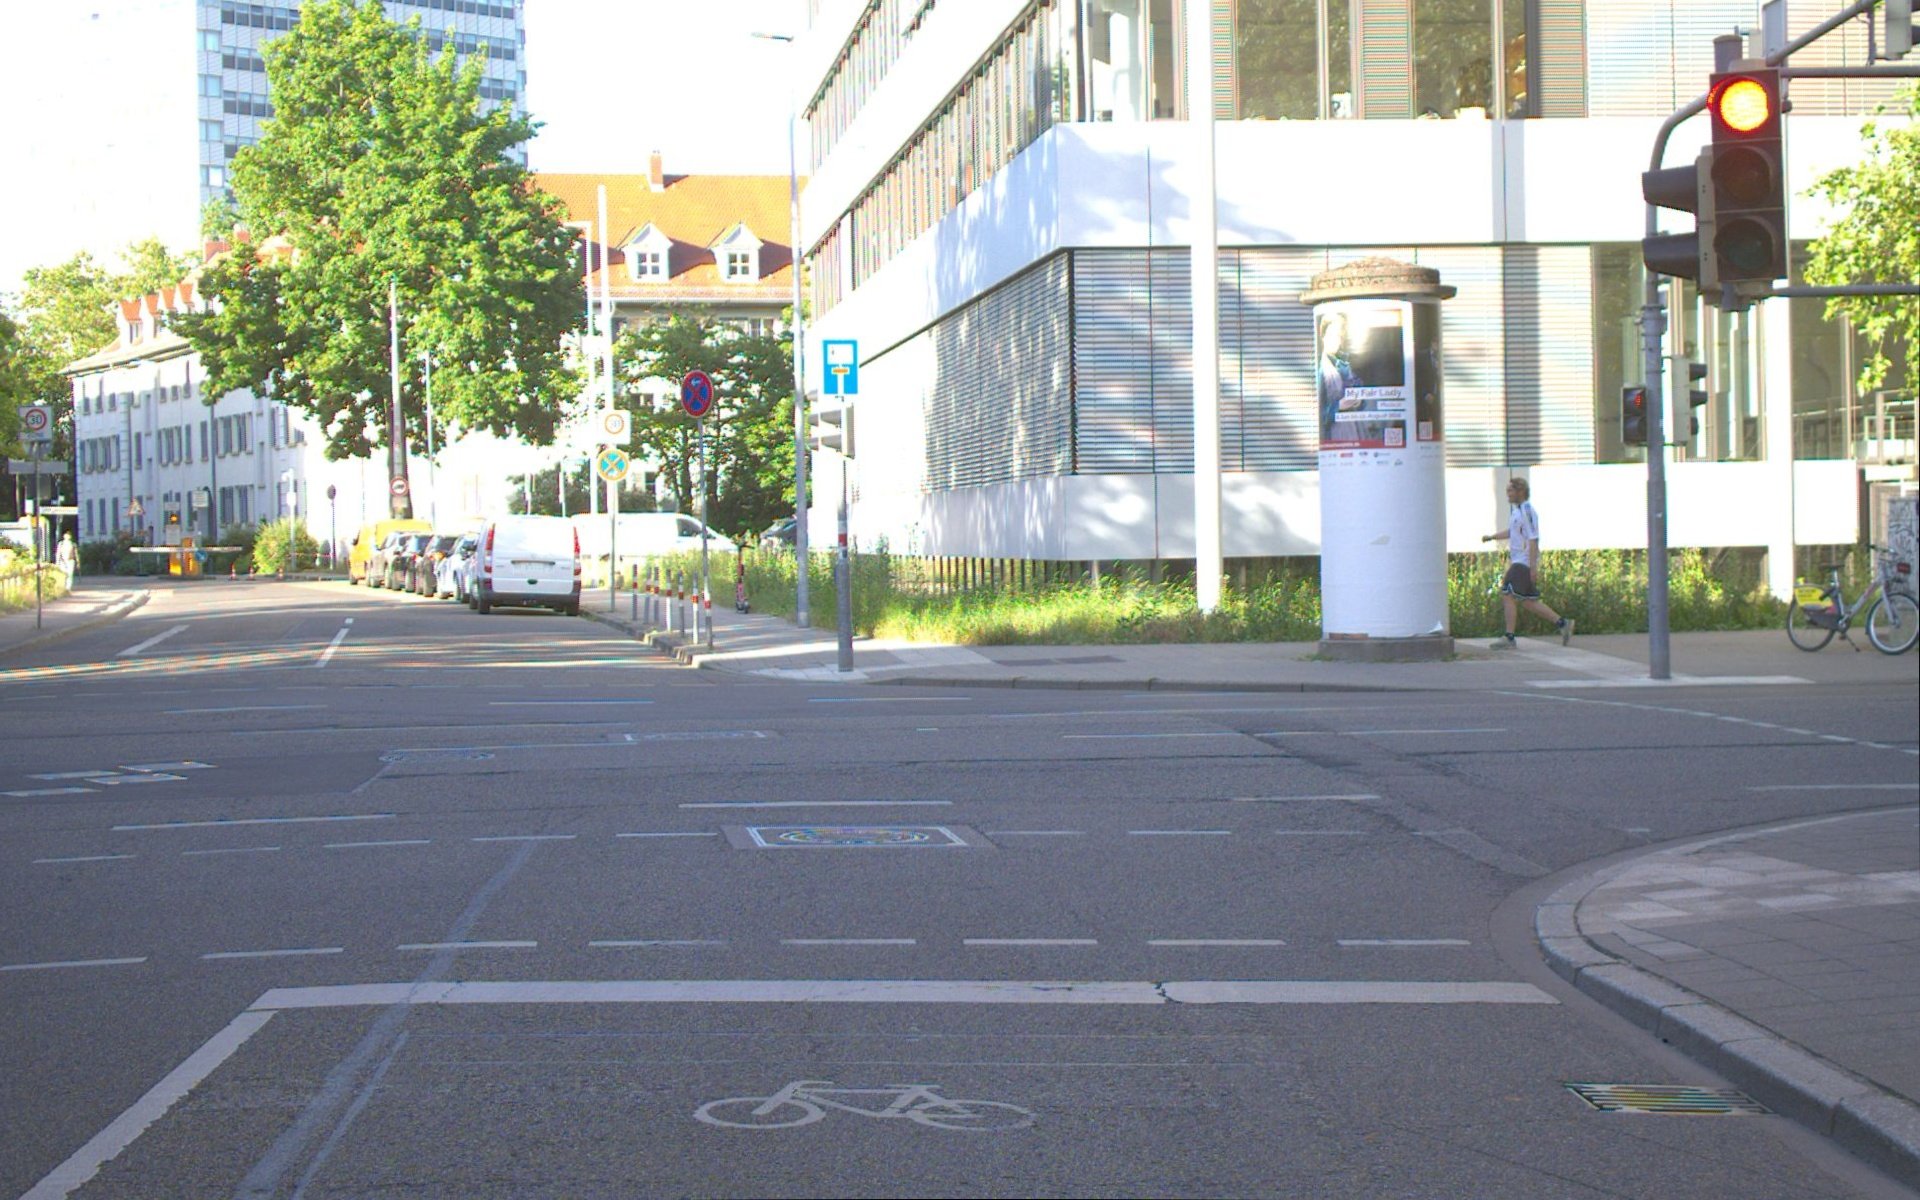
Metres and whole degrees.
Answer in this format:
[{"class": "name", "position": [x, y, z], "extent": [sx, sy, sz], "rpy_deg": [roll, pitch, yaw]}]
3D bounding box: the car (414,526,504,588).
[{"class": "car", "position": [-11.870, -1.033, 81.289], "extent": [1.703, 1.419, 4.239], "rpy_deg": [-1, 1, -14]}]

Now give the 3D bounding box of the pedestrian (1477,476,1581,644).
[{"class": "pedestrian", "position": [6.276, -0.443, 37.947], "extent": [1.037, 1.824, 0.539], "rpy_deg": [-1, 1, -1]}]

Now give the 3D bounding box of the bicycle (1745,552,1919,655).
[{"class": "bicycle", "position": [9.188, 0.032, 36.102], "extent": [0.463, 1.045, 1.914], "rpy_deg": [-2, 2, -42]}]

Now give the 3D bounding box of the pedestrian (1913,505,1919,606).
[{"class": "pedestrian", "position": [5.250, 0.287, 16.514], "extent": [0.956, 1.568, 0.749], "rpy_deg": [-3, 2, 44]}]

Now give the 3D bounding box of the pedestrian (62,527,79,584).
[{"class": "pedestrian", "position": [-24.324, -1.221, 94.007], "extent": [0.380, 1.529, 0.446], "rpy_deg": [-1, 1, -12]}]

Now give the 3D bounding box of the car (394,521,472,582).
[{"class": "car", "position": [-13.175, -1.222, 85.824], "extent": [1.703, 1.459, 4.239], "rpy_deg": [-1, 1, -11]}]

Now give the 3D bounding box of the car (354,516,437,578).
[{"class": "car", "position": [-15.722, -1.488, 95.645], "extent": [2.100, 1.652, 4.477], "rpy_deg": [-1, 1, -11]}]

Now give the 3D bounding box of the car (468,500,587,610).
[{"class": "car", "position": [-8.156, -0.865, 64.629], "extent": [2.066, 1.956, 4.239], "rpy_deg": [-1, 1, -9]}]

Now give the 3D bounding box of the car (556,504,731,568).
[{"class": "car", "position": [-9.469, -1.886, 102.764], "extent": [4.880, 1.865, 2.001], "rpy_deg": [0, 0, -16]}]

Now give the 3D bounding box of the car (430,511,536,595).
[{"class": "car", "position": [-10.658, -1.058, 76.547], "extent": [1.946, 1.789, 4.239], "rpy_deg": [-1, 1, -13]}]
